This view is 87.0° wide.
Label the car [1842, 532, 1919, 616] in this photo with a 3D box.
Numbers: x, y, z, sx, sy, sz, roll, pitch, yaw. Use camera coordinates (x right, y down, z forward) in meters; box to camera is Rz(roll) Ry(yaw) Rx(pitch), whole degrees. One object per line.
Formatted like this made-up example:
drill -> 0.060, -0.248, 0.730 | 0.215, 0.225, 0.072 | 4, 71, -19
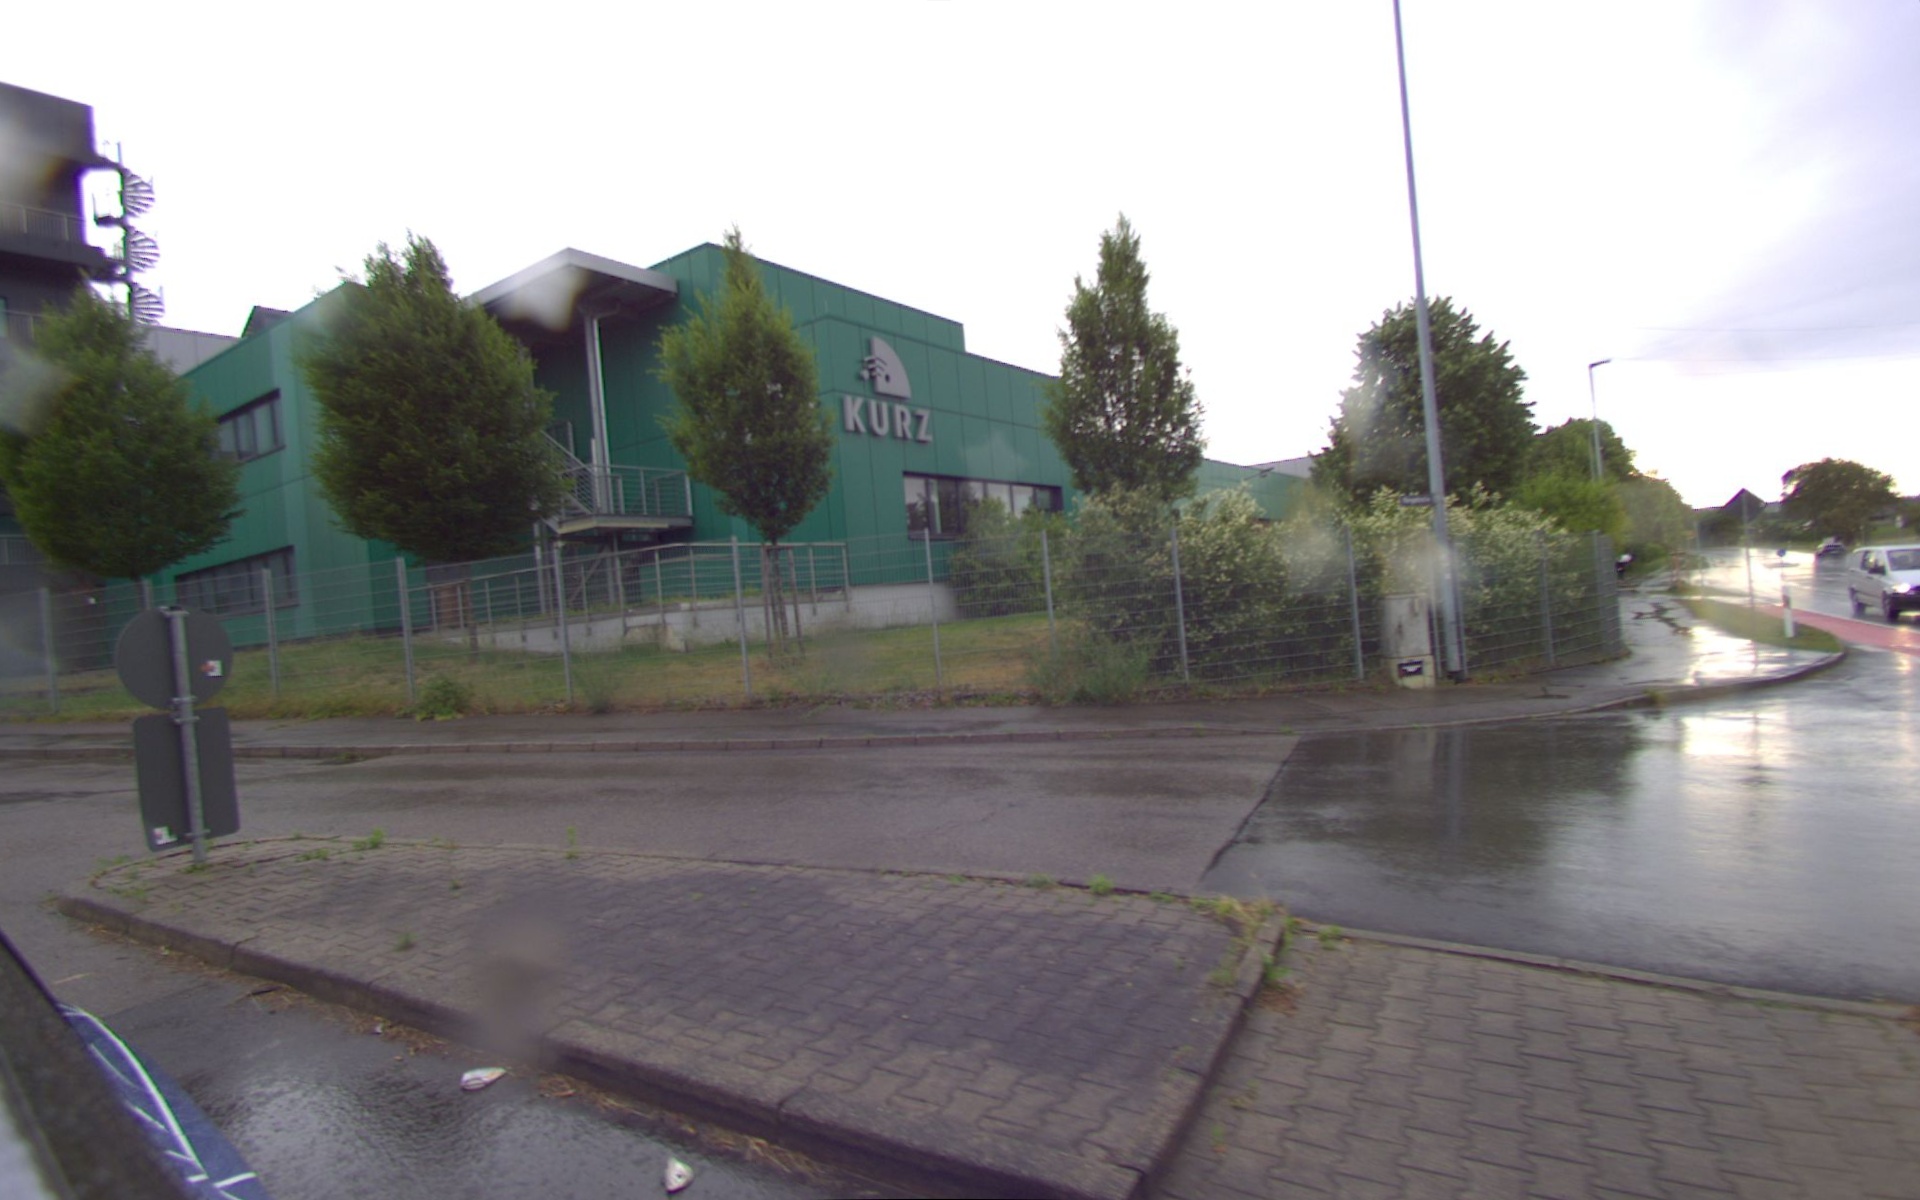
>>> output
car -> 25.429, -0.721, 26.862 | 1.897, 2.033, 5.319 | -3, -1, 29
